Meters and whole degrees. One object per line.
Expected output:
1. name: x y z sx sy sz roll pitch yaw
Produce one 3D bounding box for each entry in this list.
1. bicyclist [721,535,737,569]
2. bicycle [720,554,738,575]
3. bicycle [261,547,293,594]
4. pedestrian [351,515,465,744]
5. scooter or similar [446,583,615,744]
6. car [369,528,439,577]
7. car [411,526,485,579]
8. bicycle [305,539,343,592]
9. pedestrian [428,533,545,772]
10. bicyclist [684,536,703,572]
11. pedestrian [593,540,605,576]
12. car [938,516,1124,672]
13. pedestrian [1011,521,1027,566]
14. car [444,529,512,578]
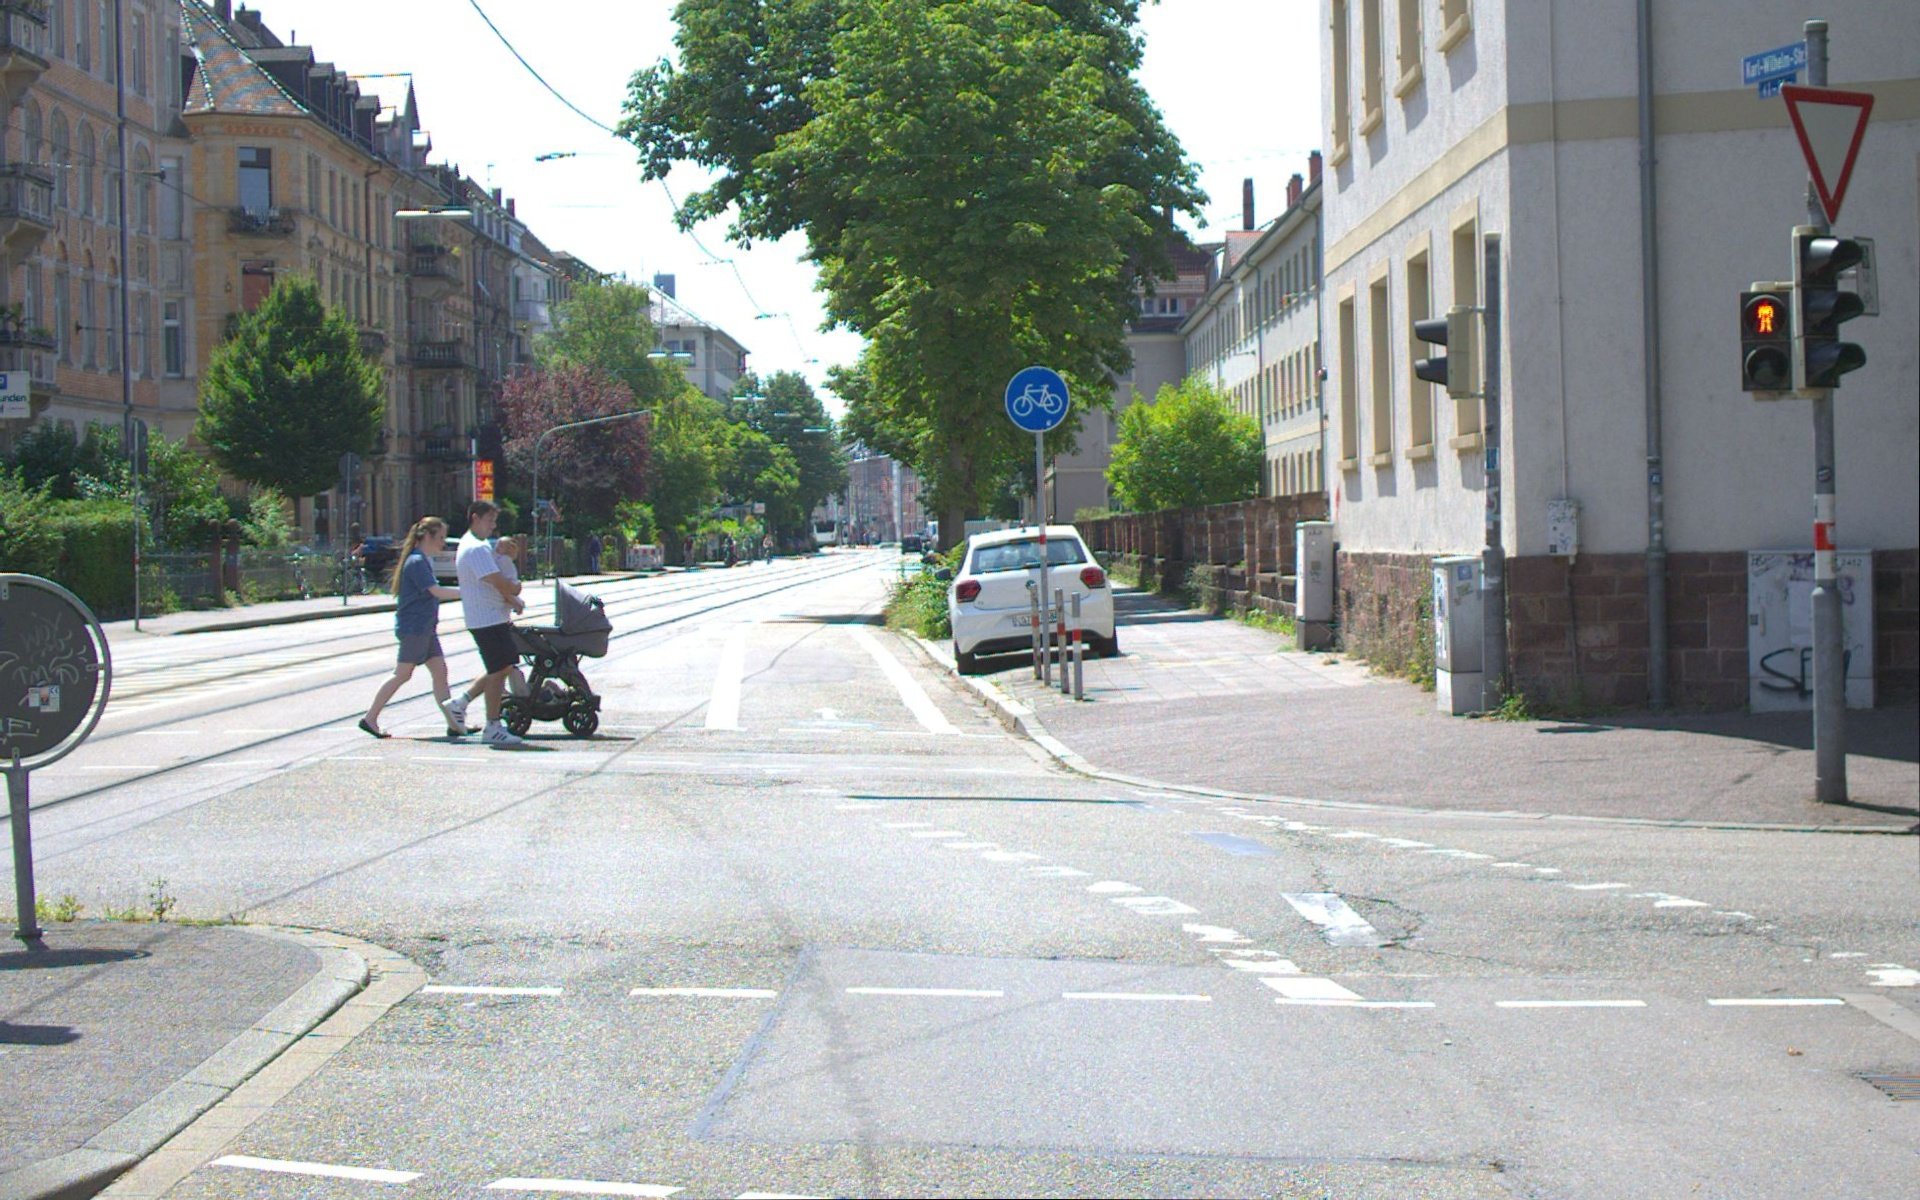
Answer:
1. bicyclist: -12.086 -2.508 180.129 0.727 1.762 1.079 1 0 1
2. bicycle: -12.110 -1.854 180.045 0.727 1.119 2.085 1 1 1
3. bicycle: -15.904 -0.702 80.035 0.677 1.061 1.919 -1 1 -11
4. pedestrian: -4.007 0.209 24.990 0.675 1.640 0.558 1 0 7
5. scooter or similar: -3.153 0.462 25.210 1.201 1.151 0.559 1 0 -8
6. car: -20.018 -1.705 123.912 1.919 1.709 4.000 1 1 -1
7. car: -17.188 -1.581 115.575 1.919 1.709 4.000 1 1 -1
8. bicycle: -15.661 -0.852 84.678 0.677 1.274 1.919 -1 1 -3
9. pedestrian: -3.309 0.358 24.056 0.675 1.640 0.558 1 0 7
10. bicyclist: -12.078 -2.072 155.996 0.727 1.623 1.079 1 0 1
11. pedestrian: -14.737 -1.701 140.398 0.406 1.456 0.436 -1 1 -1
12. car: 0.720 -0.084 37.337 1.815 1.511 4.000 -3 1 -1
13. pedestrian: 2.068 -1.988 120.816 0.521 1.557 0.573 -1 1 -1
14. car: -17.332 -1.667 123.839 1.919 1.709 4.000 1 1 -1
